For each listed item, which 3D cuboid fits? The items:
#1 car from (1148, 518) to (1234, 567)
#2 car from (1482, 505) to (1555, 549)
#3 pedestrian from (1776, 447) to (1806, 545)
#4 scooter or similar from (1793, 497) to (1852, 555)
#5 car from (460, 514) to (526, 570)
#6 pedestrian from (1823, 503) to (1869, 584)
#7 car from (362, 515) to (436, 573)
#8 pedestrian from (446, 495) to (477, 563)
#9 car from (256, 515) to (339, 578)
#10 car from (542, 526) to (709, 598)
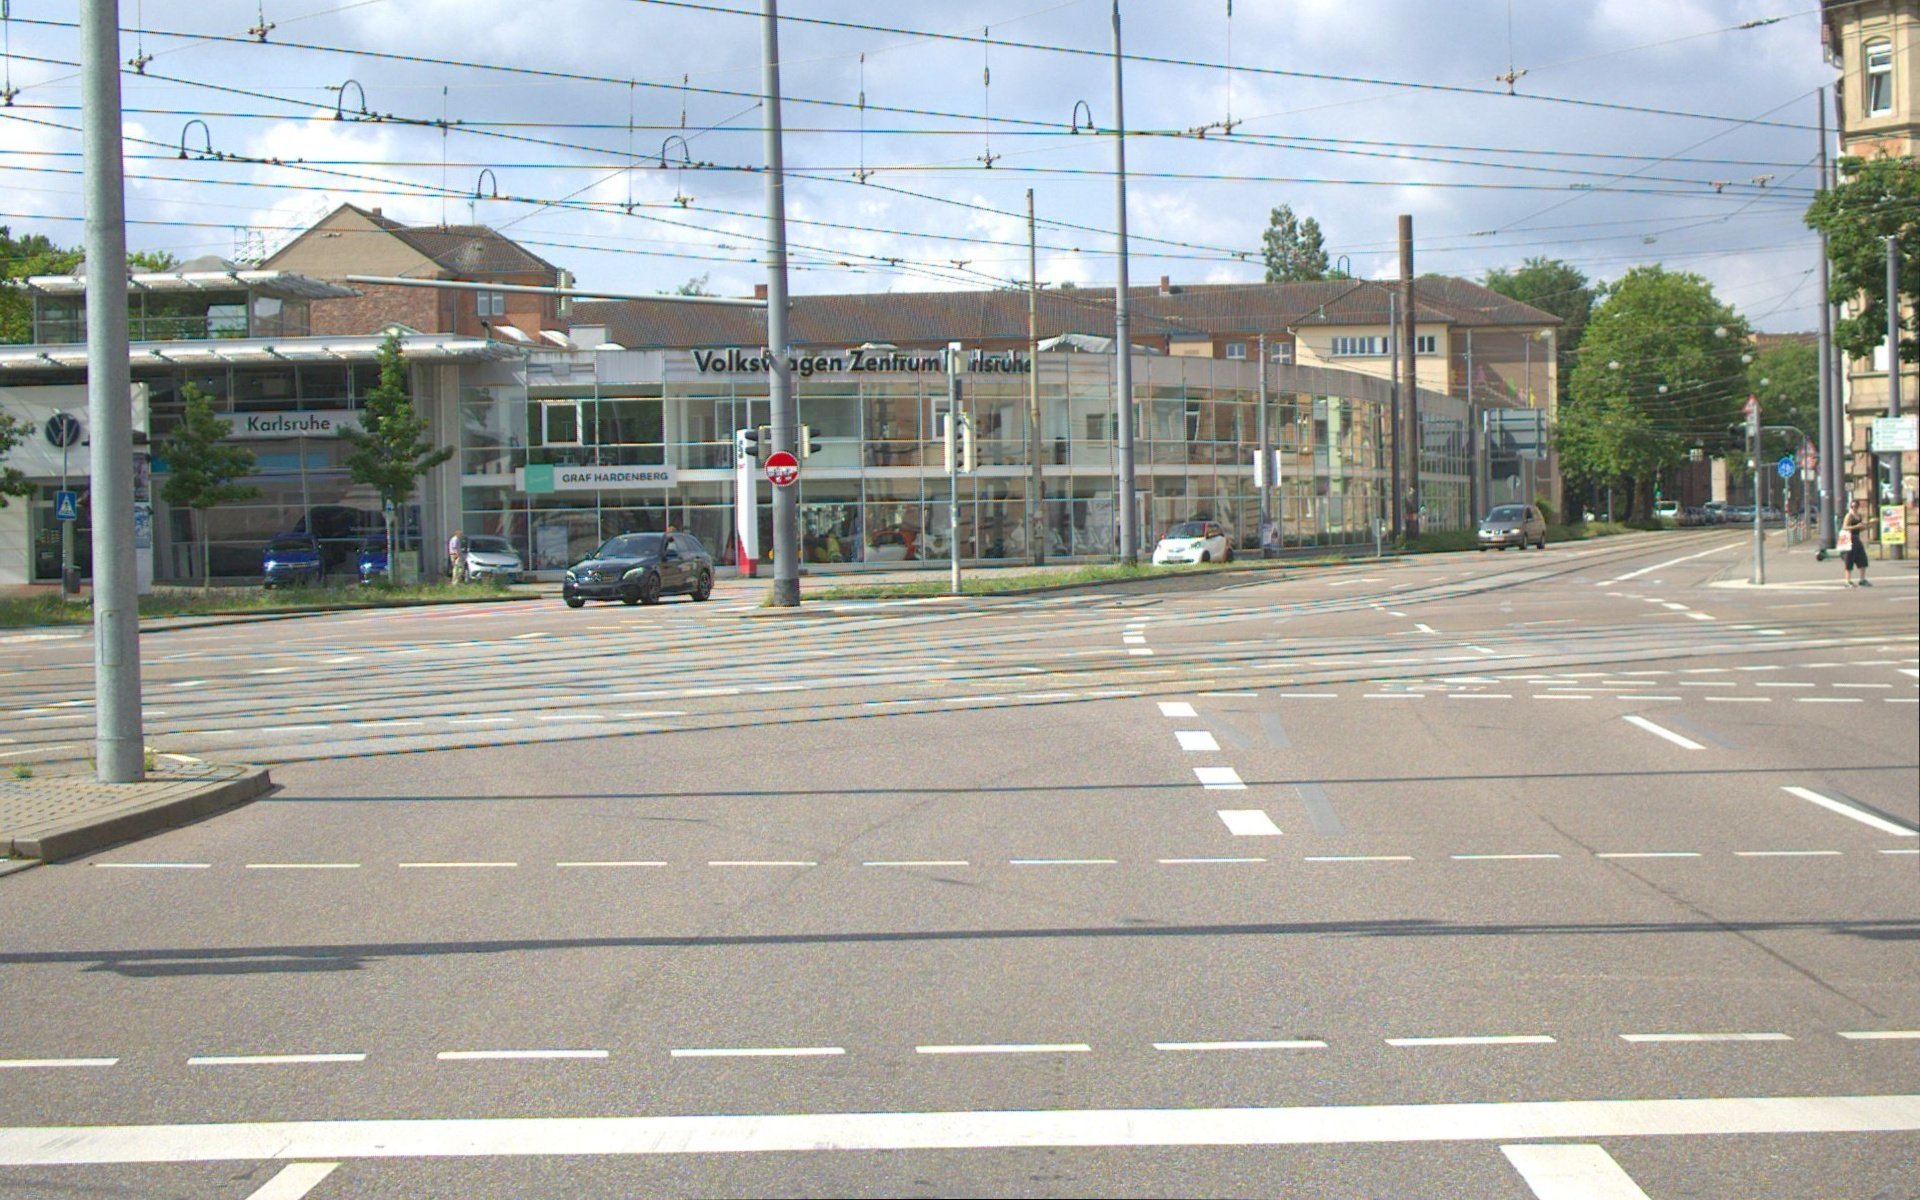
[{"bbox_3d":[7.177,-1.760,106.591,1.687,1.465,3.652,1,1,21],"label":"car"},{"bbox_3d":[20.956,-2.747,128.893,1.995,1.568,3.733,-1,1,21],"label":"car"},{"bbox_3d":[26.409,-3.302,109.271,0.725,3.065,0.886,1,0,24],"label":"pedestrian"},{"bbox_3d":[21.518,-1.834,85.815,1.177,1.381,2.803,1,0,9],"label":"scooter or similar"},{"bbox_3d":[-14.470,-1.778,106.397,1.928,1.678,4.001,1,0,-9],"label":"car"},{"bbox_3d":[16.609,-1.062,64.443,0.741,1.510,0.544,0,1,23],"label":"pedestrian"},{"bbox_3d":[-17.037,-1.686,104.539,1.993,1.719,4.001,1,0,-6],"label":"car"},{"bbox_3d":[-14.903,-2.115,102.854,0.869,2.007,0.704,-1,1,-8],"label":"pedestrian"},{"bbox_3d":[-20.219,-1.618,105.081,1.993,1.831,4.001,-2,1,-4],"label":"car"},{"bbox_3d":[-6.678,-0.776,69.096,1.866,1.371,3.937,-1,1,19],"label":"car"}]
